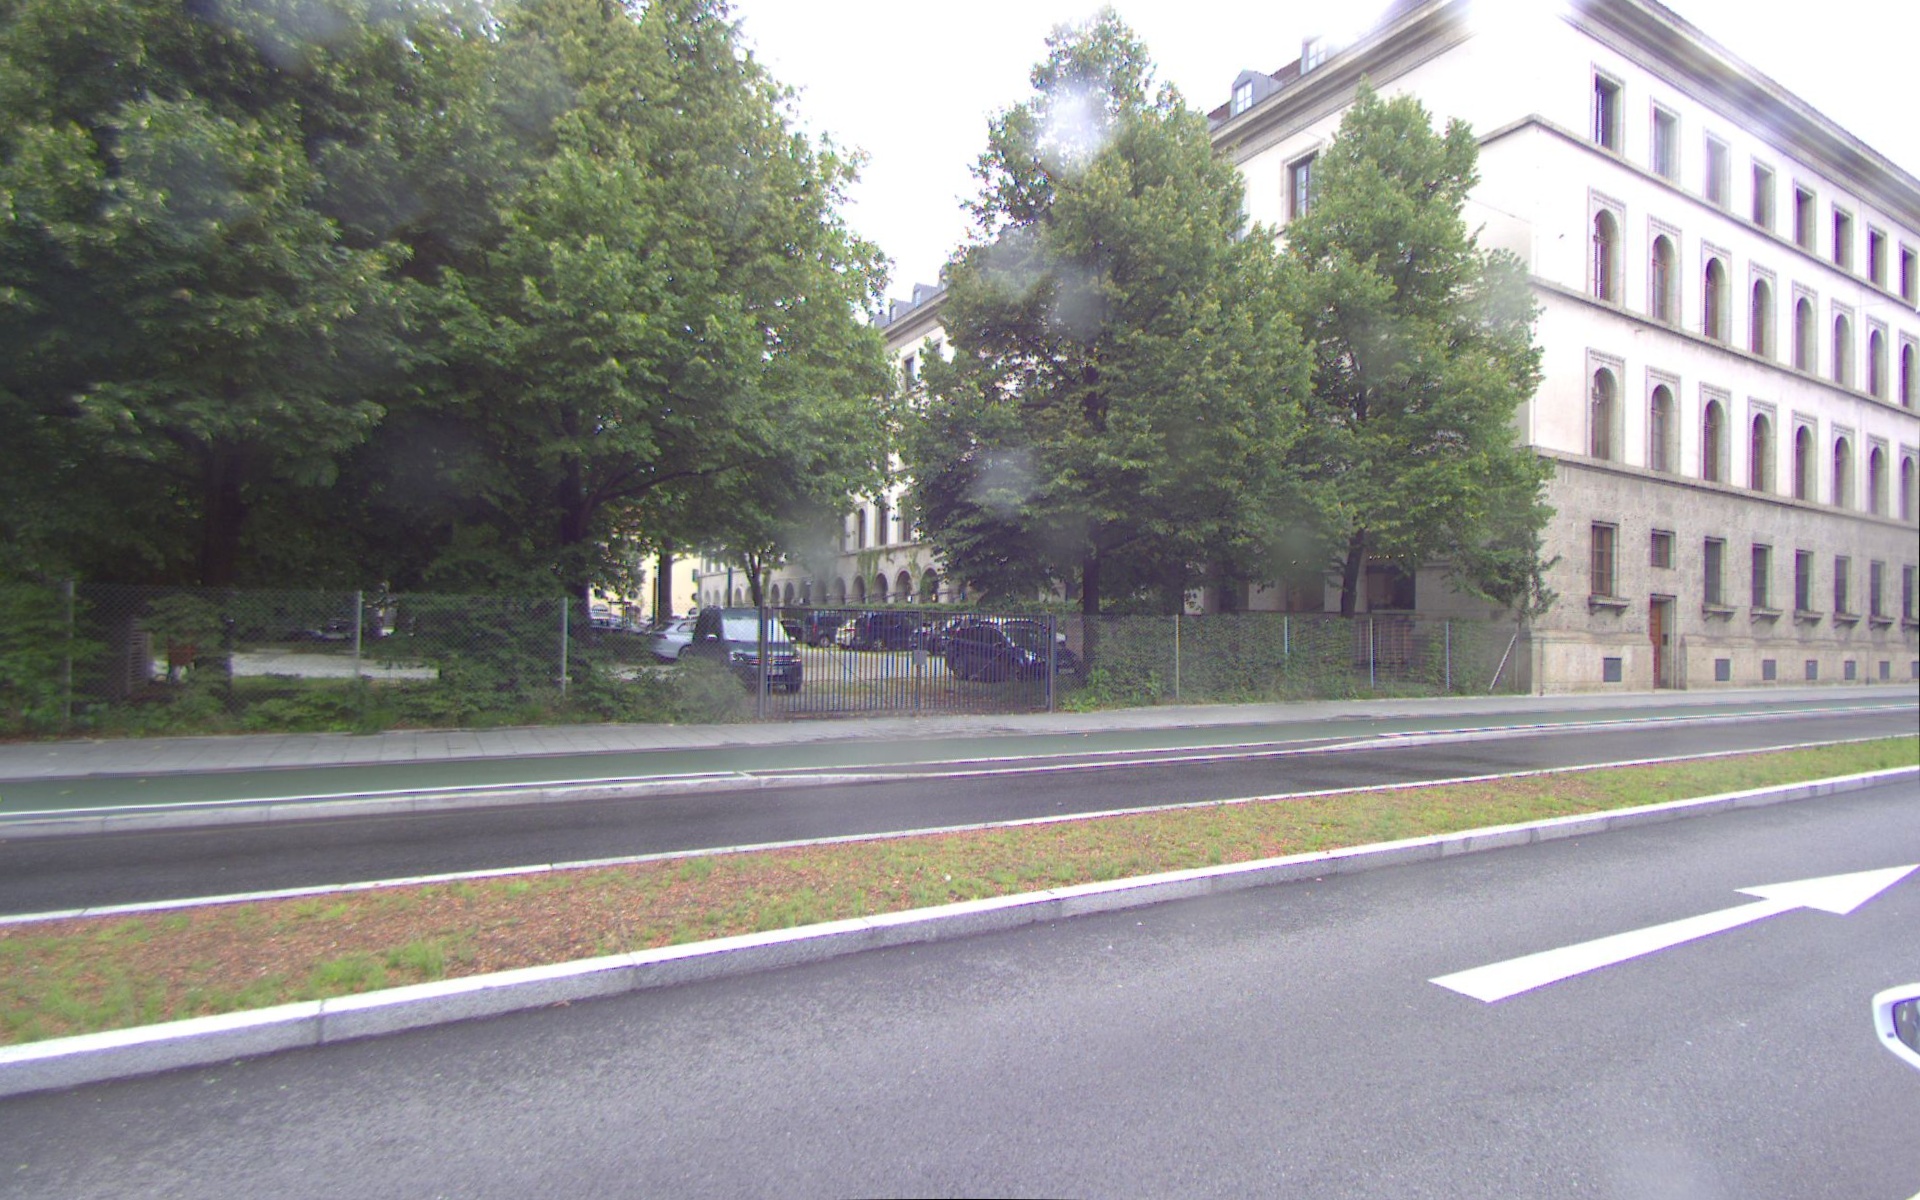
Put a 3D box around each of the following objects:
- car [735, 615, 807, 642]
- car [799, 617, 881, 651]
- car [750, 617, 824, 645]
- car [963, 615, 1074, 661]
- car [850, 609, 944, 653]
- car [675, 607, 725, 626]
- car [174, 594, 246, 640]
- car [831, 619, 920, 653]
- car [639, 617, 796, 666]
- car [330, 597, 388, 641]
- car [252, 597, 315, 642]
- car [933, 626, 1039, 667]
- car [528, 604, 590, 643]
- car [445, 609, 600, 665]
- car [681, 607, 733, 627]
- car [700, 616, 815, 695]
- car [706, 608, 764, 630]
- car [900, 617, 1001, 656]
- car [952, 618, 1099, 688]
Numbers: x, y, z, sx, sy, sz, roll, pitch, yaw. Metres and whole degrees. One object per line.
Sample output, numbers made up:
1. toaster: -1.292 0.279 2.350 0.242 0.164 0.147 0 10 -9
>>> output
1. car: -11.591 1.775 61.547 3.954 1.564 1.762 2 -2 -31
2. car: -6.357 1.807 53.367 3.954 1.755 1.762 2 -2 -31
3. car: -10.263 1.824 59.584 3.954 1.564 1.762 2 -2 -31
4. car: 2.255 1.459 38.297 3.954 1.661 1.657 2 -1 -31
5. car: -2.941 1.446 46.926 3.949 1.954 1.838 2 -1 -27
6. car: -22.809 1.425 88.074 3.954 1.564 1.762 2 -2 -31
7. car: -29.871 0.683 40.096 1.979 1.742 3.964 2 -2 -33
8. car: -4.098 1.767 49.000 3.954 1.564 1.762 2 -2 -31
9. car: -7.841 1.346 32.559 4.580 1.460 1.984 2 -2 -31
10. car: -25.426 0.805 42.441 1.978 1.742 3.965 2 -2 -32
11. car: -28.011 0.815 41.677 1.978 1.742 3.965 2 -2 -32
12. car: 1.053 1.887 40.516 3.954 1.564 1.762 2 -2 -31
13. car: -18.827 1.107 47.054 1.978 1.742 3.965 2 -2 -32
14. car: -12.815 1.091 29.498 3.956 1.564 1.761 2 -2 -32
15. car: -21.561 1.466 85.599 3.954 1.564 1.762 2 -2 -31
16. car: -4.701 1.205 22.890 1.779 1.609 4.137 1 -2 -23
17. car: -17.296 1.471 77.175 3.954 1.564 1.762 2 -2 -31
18. car: -0.391 1.563 42.567 3.954 1.564 1.762 2 -2 -31
19. car: 1.610 1.331 26.243 1.783 1.671 4.243 2 -2 -30
